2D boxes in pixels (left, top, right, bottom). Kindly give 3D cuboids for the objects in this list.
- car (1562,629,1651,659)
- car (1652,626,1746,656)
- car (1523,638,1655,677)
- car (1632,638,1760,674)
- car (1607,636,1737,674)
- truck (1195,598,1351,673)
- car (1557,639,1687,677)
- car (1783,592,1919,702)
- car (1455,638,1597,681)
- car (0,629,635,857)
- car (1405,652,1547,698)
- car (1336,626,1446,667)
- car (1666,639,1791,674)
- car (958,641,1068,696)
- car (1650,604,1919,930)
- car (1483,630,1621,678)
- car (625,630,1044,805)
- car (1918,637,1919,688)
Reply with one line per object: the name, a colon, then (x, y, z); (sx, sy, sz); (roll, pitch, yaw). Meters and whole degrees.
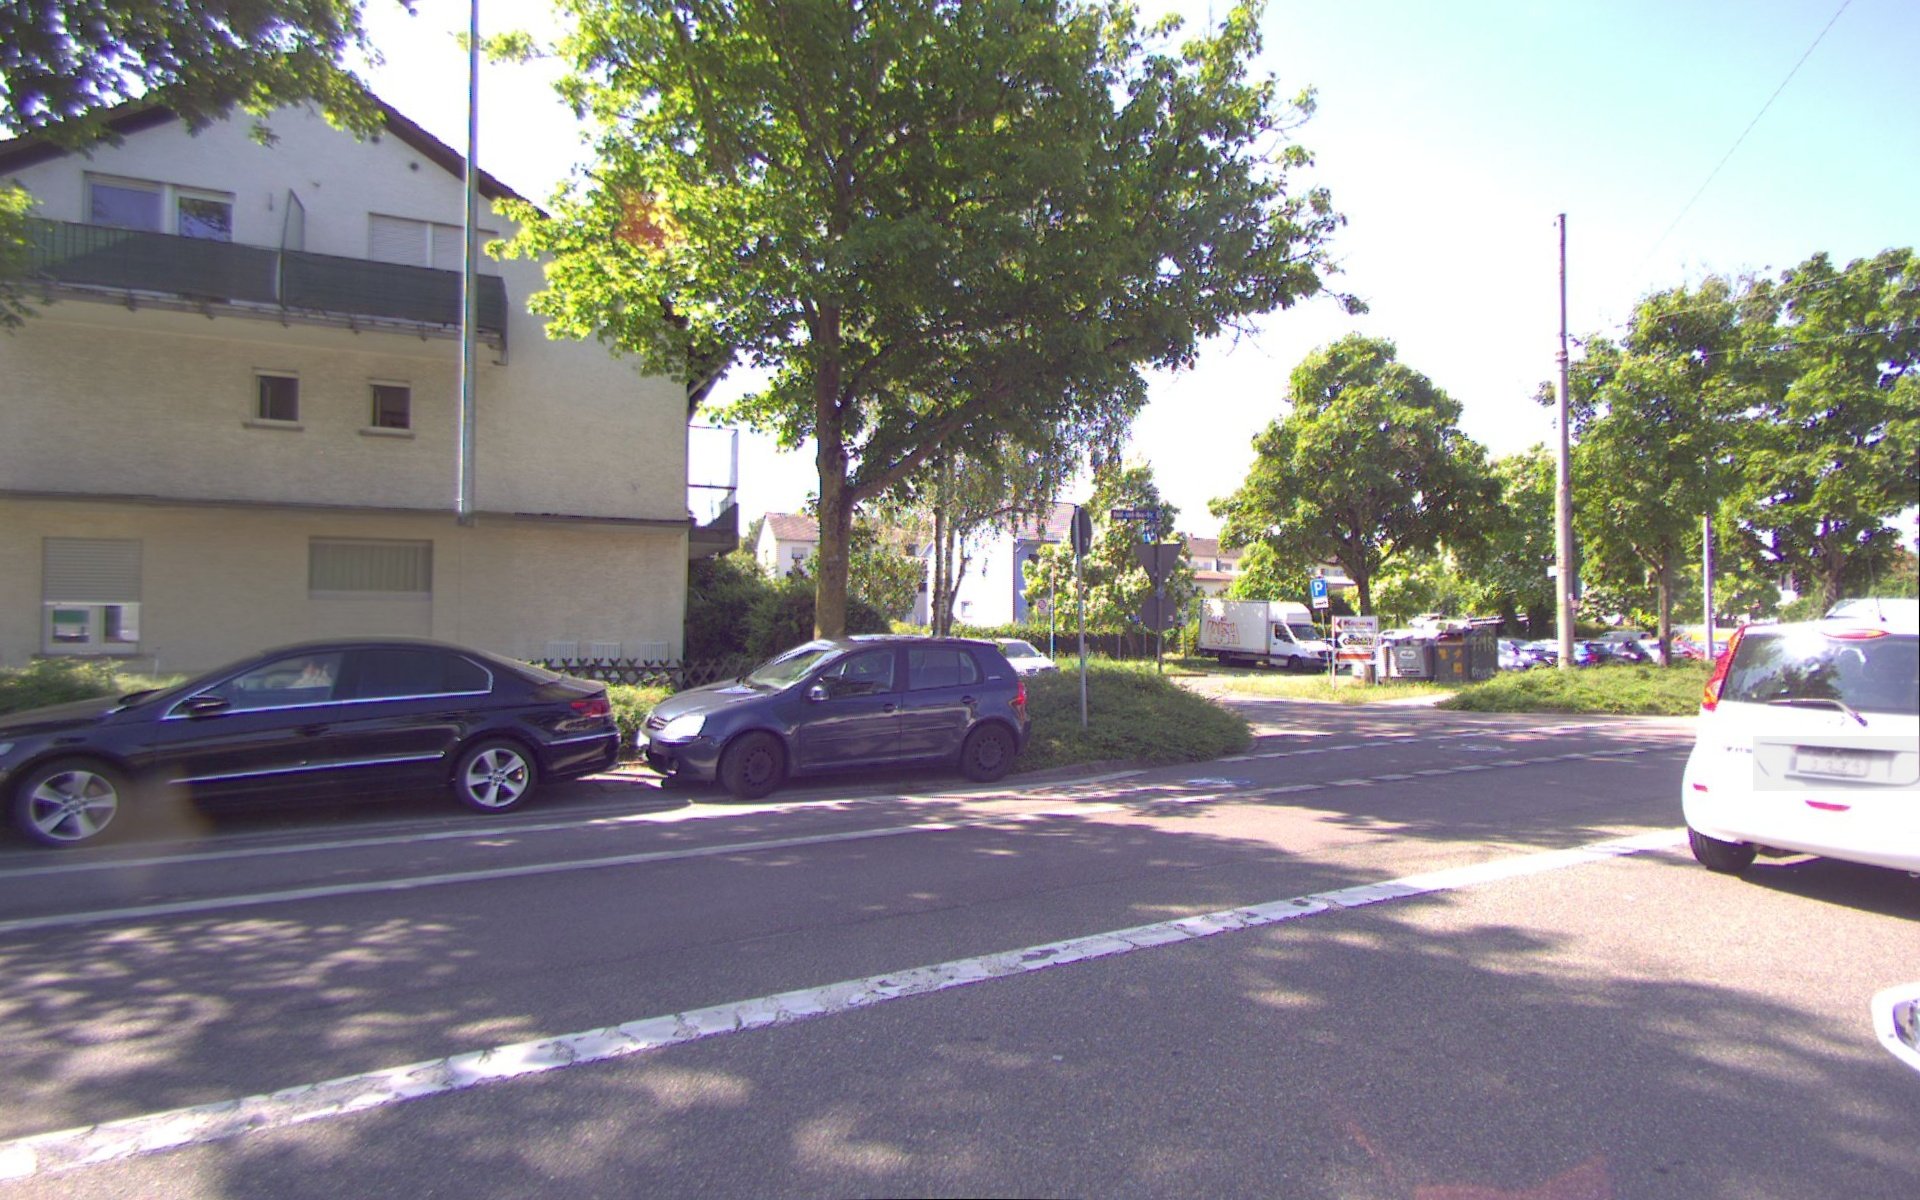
car: (44.528, 2.985, 69.298); (2.043, 1.811, 4.762); (2, 0, -34)
car: (50.489, 2.767, 68.673); (2.043, 1.811, 4.762); (2, 0, -34)
car: (24.179, 2.212, 38.718); (1.712, 1.434, 3.964); (2, -4, -33)
car: (30.750, 2.332, 42.086); (1.712, 1.434, 3.964); (2, -4, -33)
car: (28.808, 2.241, 40.765); (1.712, 1.434, 3.964); (2, -4, -33)
truck: (14.427, 1.542, 46.842); (2.646, 3.151, 6.967); (1, 0, -30)
car: (26.360, 2.328, 40.099); (1.712, 1.434, 3.964); (2, -4, -33)
car: (23.801, 1.141, 25.778); (5.745, 2.550, 2.114); (1, 0, -29)
car: (19.704, 2.075, 35.126); (1.712, 1.434, 3.964); (2, -4, -33)
car: (-5.265, 1.005, 8.385); (4.568, 1.434, 1.854); (1, 0, -31)
car: (17.331, 2.489, 33.903); (1.712, 1.434, 3.964); (2, -4, -33)
car: (21.688, 2.323, 50.703); (2.043, 1.811, 4.762); (2, 0, -34)
car: (33.172, 2.445, 43.456); (1.712, 1.434, 3.964); (2, -4, -33)
car: (1.419, 1.913, 28.446); (1.704, 1.434, 3.983); (1, -3, -20)
car: (6.395, 0.848, 6.267); (4.491, 1.568, 1.655); (1, -1, -29)
car: (21.423, 1.971, 36.511); (1.712, 1.631, 3.964); (2, -4, -33)
car: (-1.277, 1.096, 10.482); (3.988, 1.462, 1.718); (1, 0, -28)
car: (29.373, 1.819, 28.679); (4.230, 1.434, 1.854); (1, 0, -31)
